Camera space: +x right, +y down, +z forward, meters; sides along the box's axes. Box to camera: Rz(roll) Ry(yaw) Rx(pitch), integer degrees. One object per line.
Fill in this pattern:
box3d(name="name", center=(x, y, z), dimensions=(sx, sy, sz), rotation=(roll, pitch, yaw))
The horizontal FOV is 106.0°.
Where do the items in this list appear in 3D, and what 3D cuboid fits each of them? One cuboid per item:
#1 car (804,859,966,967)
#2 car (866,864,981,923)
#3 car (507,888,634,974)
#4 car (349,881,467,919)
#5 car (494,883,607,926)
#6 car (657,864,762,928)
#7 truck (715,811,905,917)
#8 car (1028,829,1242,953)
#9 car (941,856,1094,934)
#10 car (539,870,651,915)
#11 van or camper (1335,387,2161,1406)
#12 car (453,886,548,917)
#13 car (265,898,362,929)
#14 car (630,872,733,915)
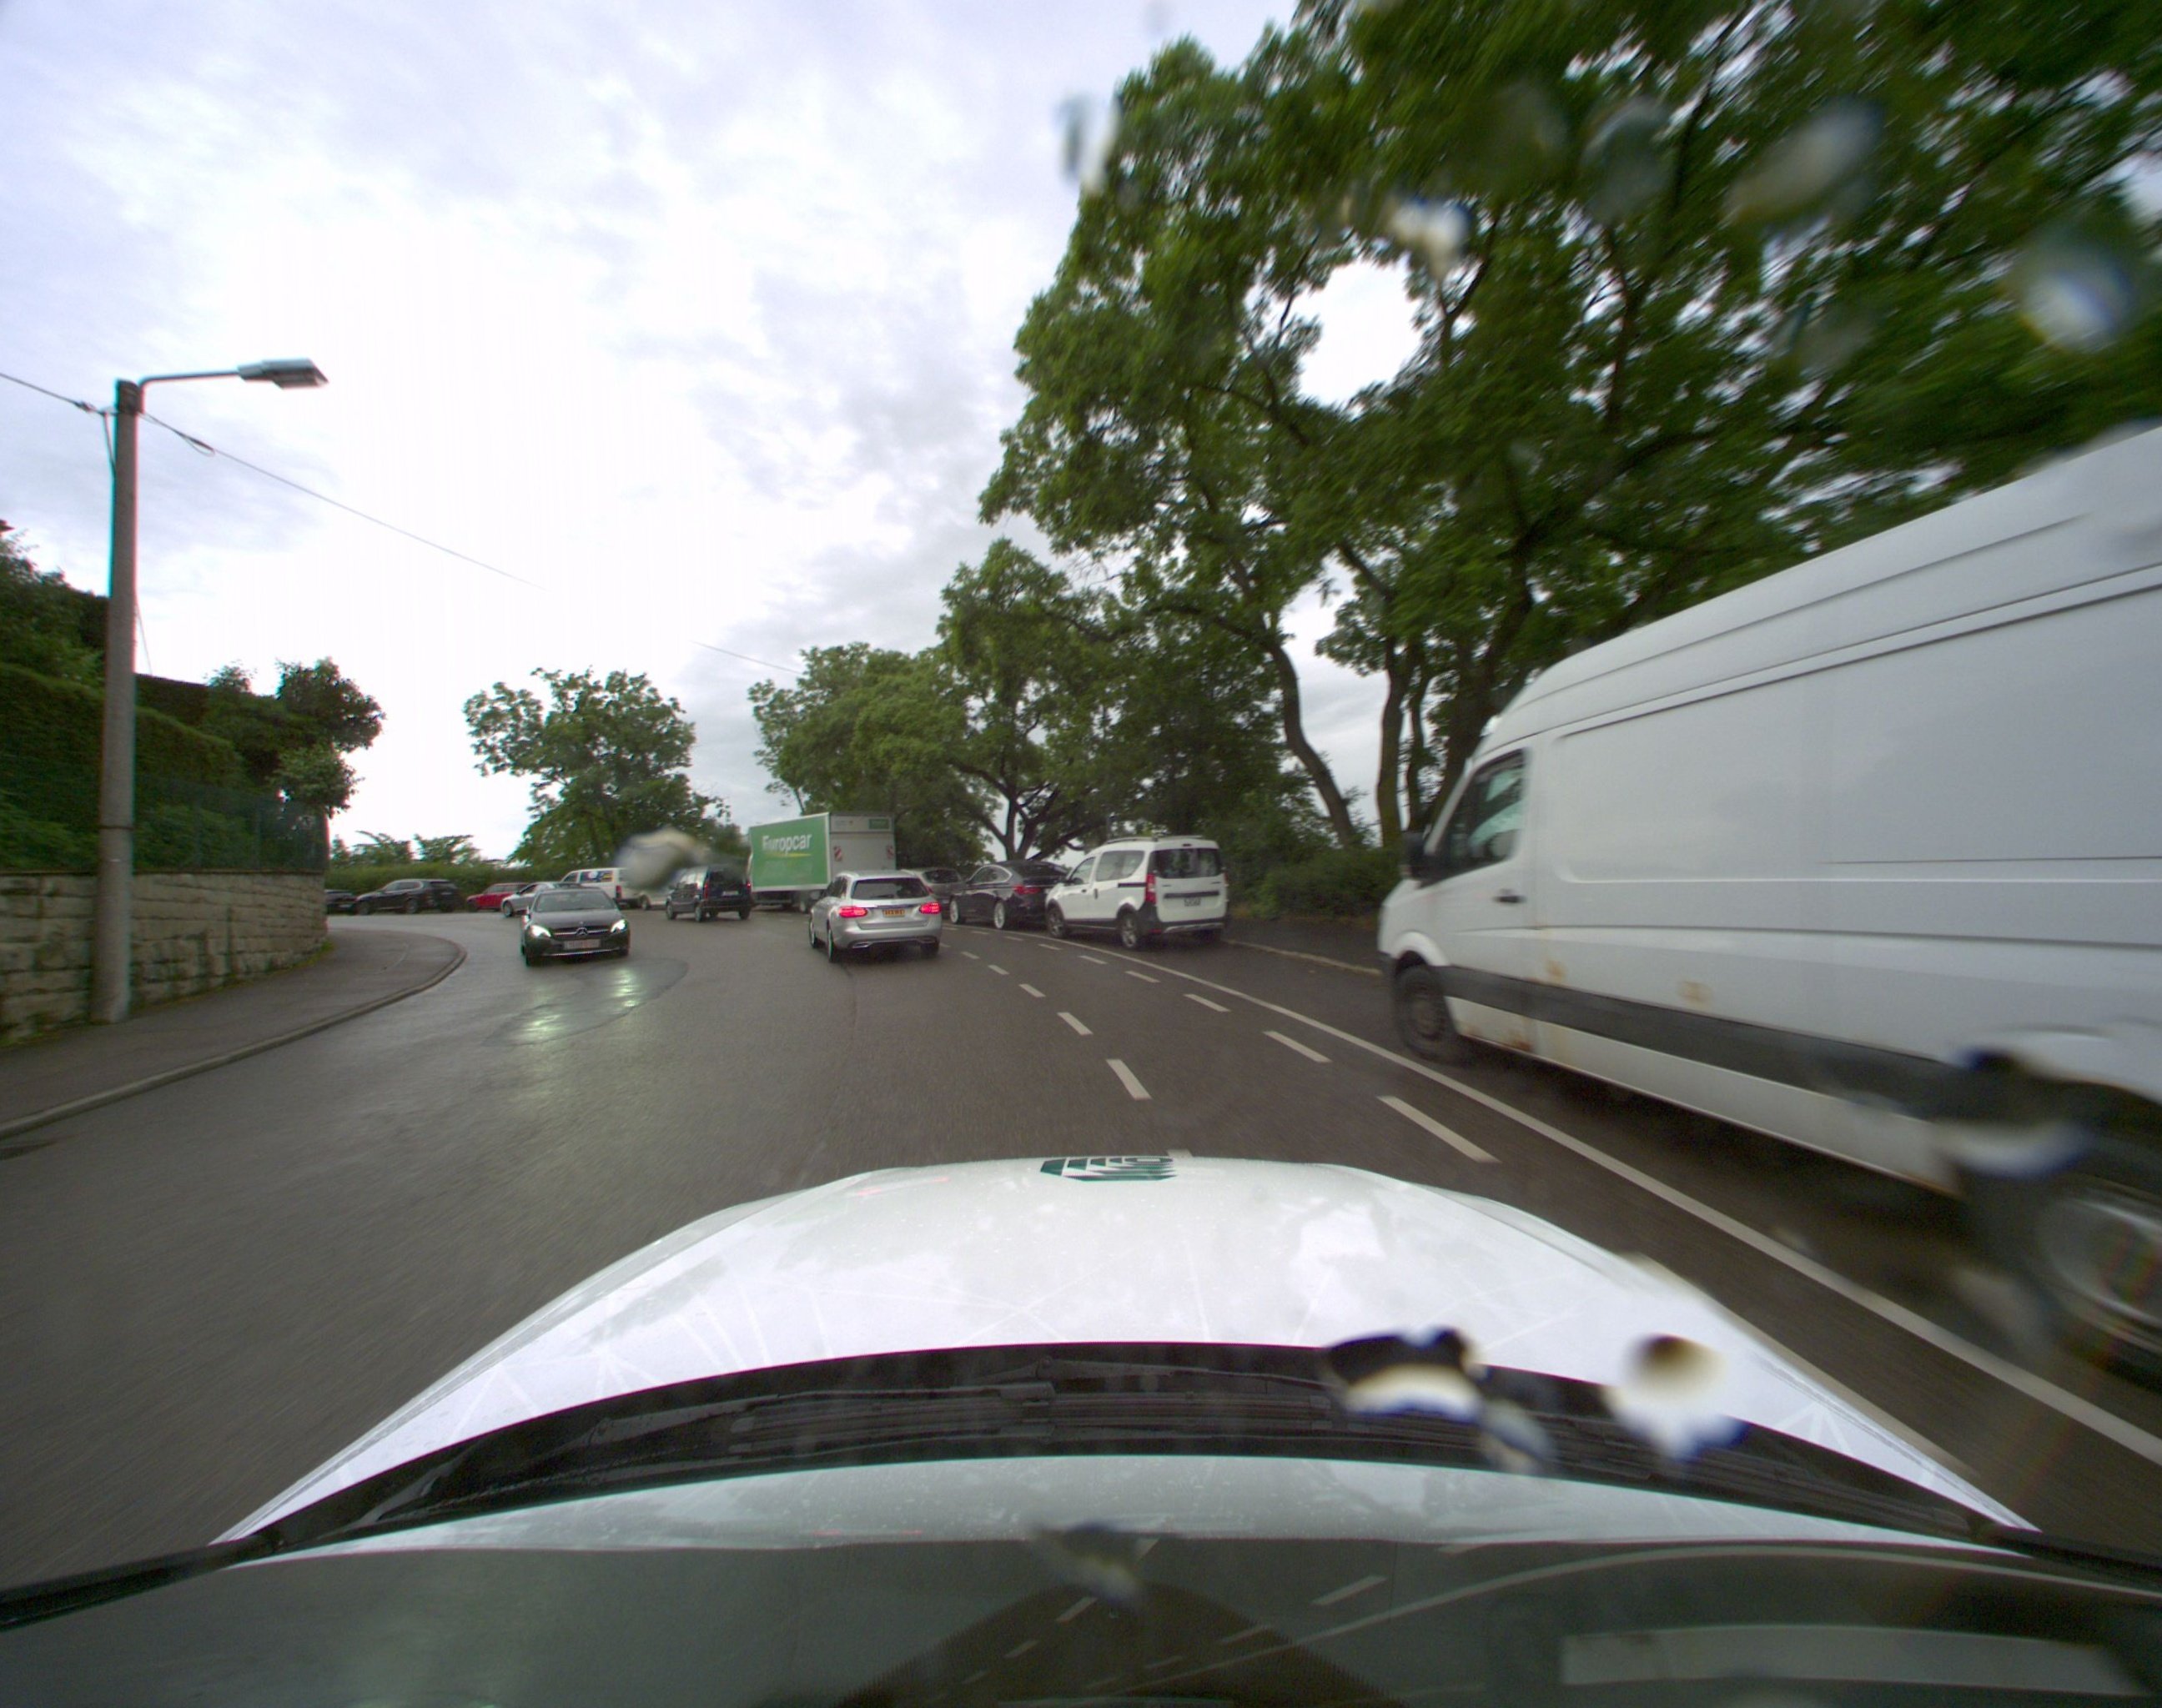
box3d(name="car", center=(-3.656, 0.958, 14.576), dimensions=(1.992, 1.554, 4.262), rotation=(-2, -1, -25))
box3d(name="car", center=(-4.800, 1.173, 24.456), dimensions=(1.747, 1.503, 4.089), rotation=(-4, 0, -36))
box3d(name="car", center=(-10.793, 1.516, 17.090), dimensions=(1.802, 1.434, 4.067), rotation=(-4, 0, -38))
box3d(name="car", center=(-34.517, 2.375, 41.804), dimensions=(4.850, 1.783, 2.040), rotation=(-2, -3, 12))
box3d(name="car", center=(-21.538, 2.060, 33.071), dimensions=(4.045, 1.458, 1.870), rotation=(-4, 0, 23))
box3d(name="car", center=(-12.478, 1.384, 27.211), dimensions=(1.841, 1.882, 4.044), rotation=(-4, 0, -44))
box3d(name="truck", center=(-10.446, 0.459, 30.686), dimensions=(8.819, 3.470, 2.800), rotation=(-3, -1, 43))
box3d(name="car", center=(0.783, 0.626, 14.857), dimensions=(1.757, 1.821, 4.383), rotation=(-4, 0, -28))
box3d(name="car", center=(-1.707, 0.956, 19.837), dimensions=(1.871, 1.542, 4.850), rotation=(-4, 0, -28))
box3d(name="car", center=(-23.195, 1.827, 38.898), dimensions=(4.753, 1.948, 1.874), rotation=(-2, -2, 18))
box3d(name="van or camper", center=(3.553, 0.088, 4.094), dimensions=(2.064, 2.580, 5.875), rotation=(-4, 0, -6))
box3d(name="car", center=(-29.011, 2.357, 40.751), dimensions=(3.707, 1.414, 1.681), rotation=(-2, -3, 10))
box3d(name="car", center=(-40.092, 3.100, 42.557), dimensions=(3.943, 1.422, 1.699), rotation=(-3, -3, 12))
box3d(name="car", center=(-17.889, 1.772, 36.440), dimensions=(4.324, 1.771, 1.877), rotation=(-3, -2, 26))
